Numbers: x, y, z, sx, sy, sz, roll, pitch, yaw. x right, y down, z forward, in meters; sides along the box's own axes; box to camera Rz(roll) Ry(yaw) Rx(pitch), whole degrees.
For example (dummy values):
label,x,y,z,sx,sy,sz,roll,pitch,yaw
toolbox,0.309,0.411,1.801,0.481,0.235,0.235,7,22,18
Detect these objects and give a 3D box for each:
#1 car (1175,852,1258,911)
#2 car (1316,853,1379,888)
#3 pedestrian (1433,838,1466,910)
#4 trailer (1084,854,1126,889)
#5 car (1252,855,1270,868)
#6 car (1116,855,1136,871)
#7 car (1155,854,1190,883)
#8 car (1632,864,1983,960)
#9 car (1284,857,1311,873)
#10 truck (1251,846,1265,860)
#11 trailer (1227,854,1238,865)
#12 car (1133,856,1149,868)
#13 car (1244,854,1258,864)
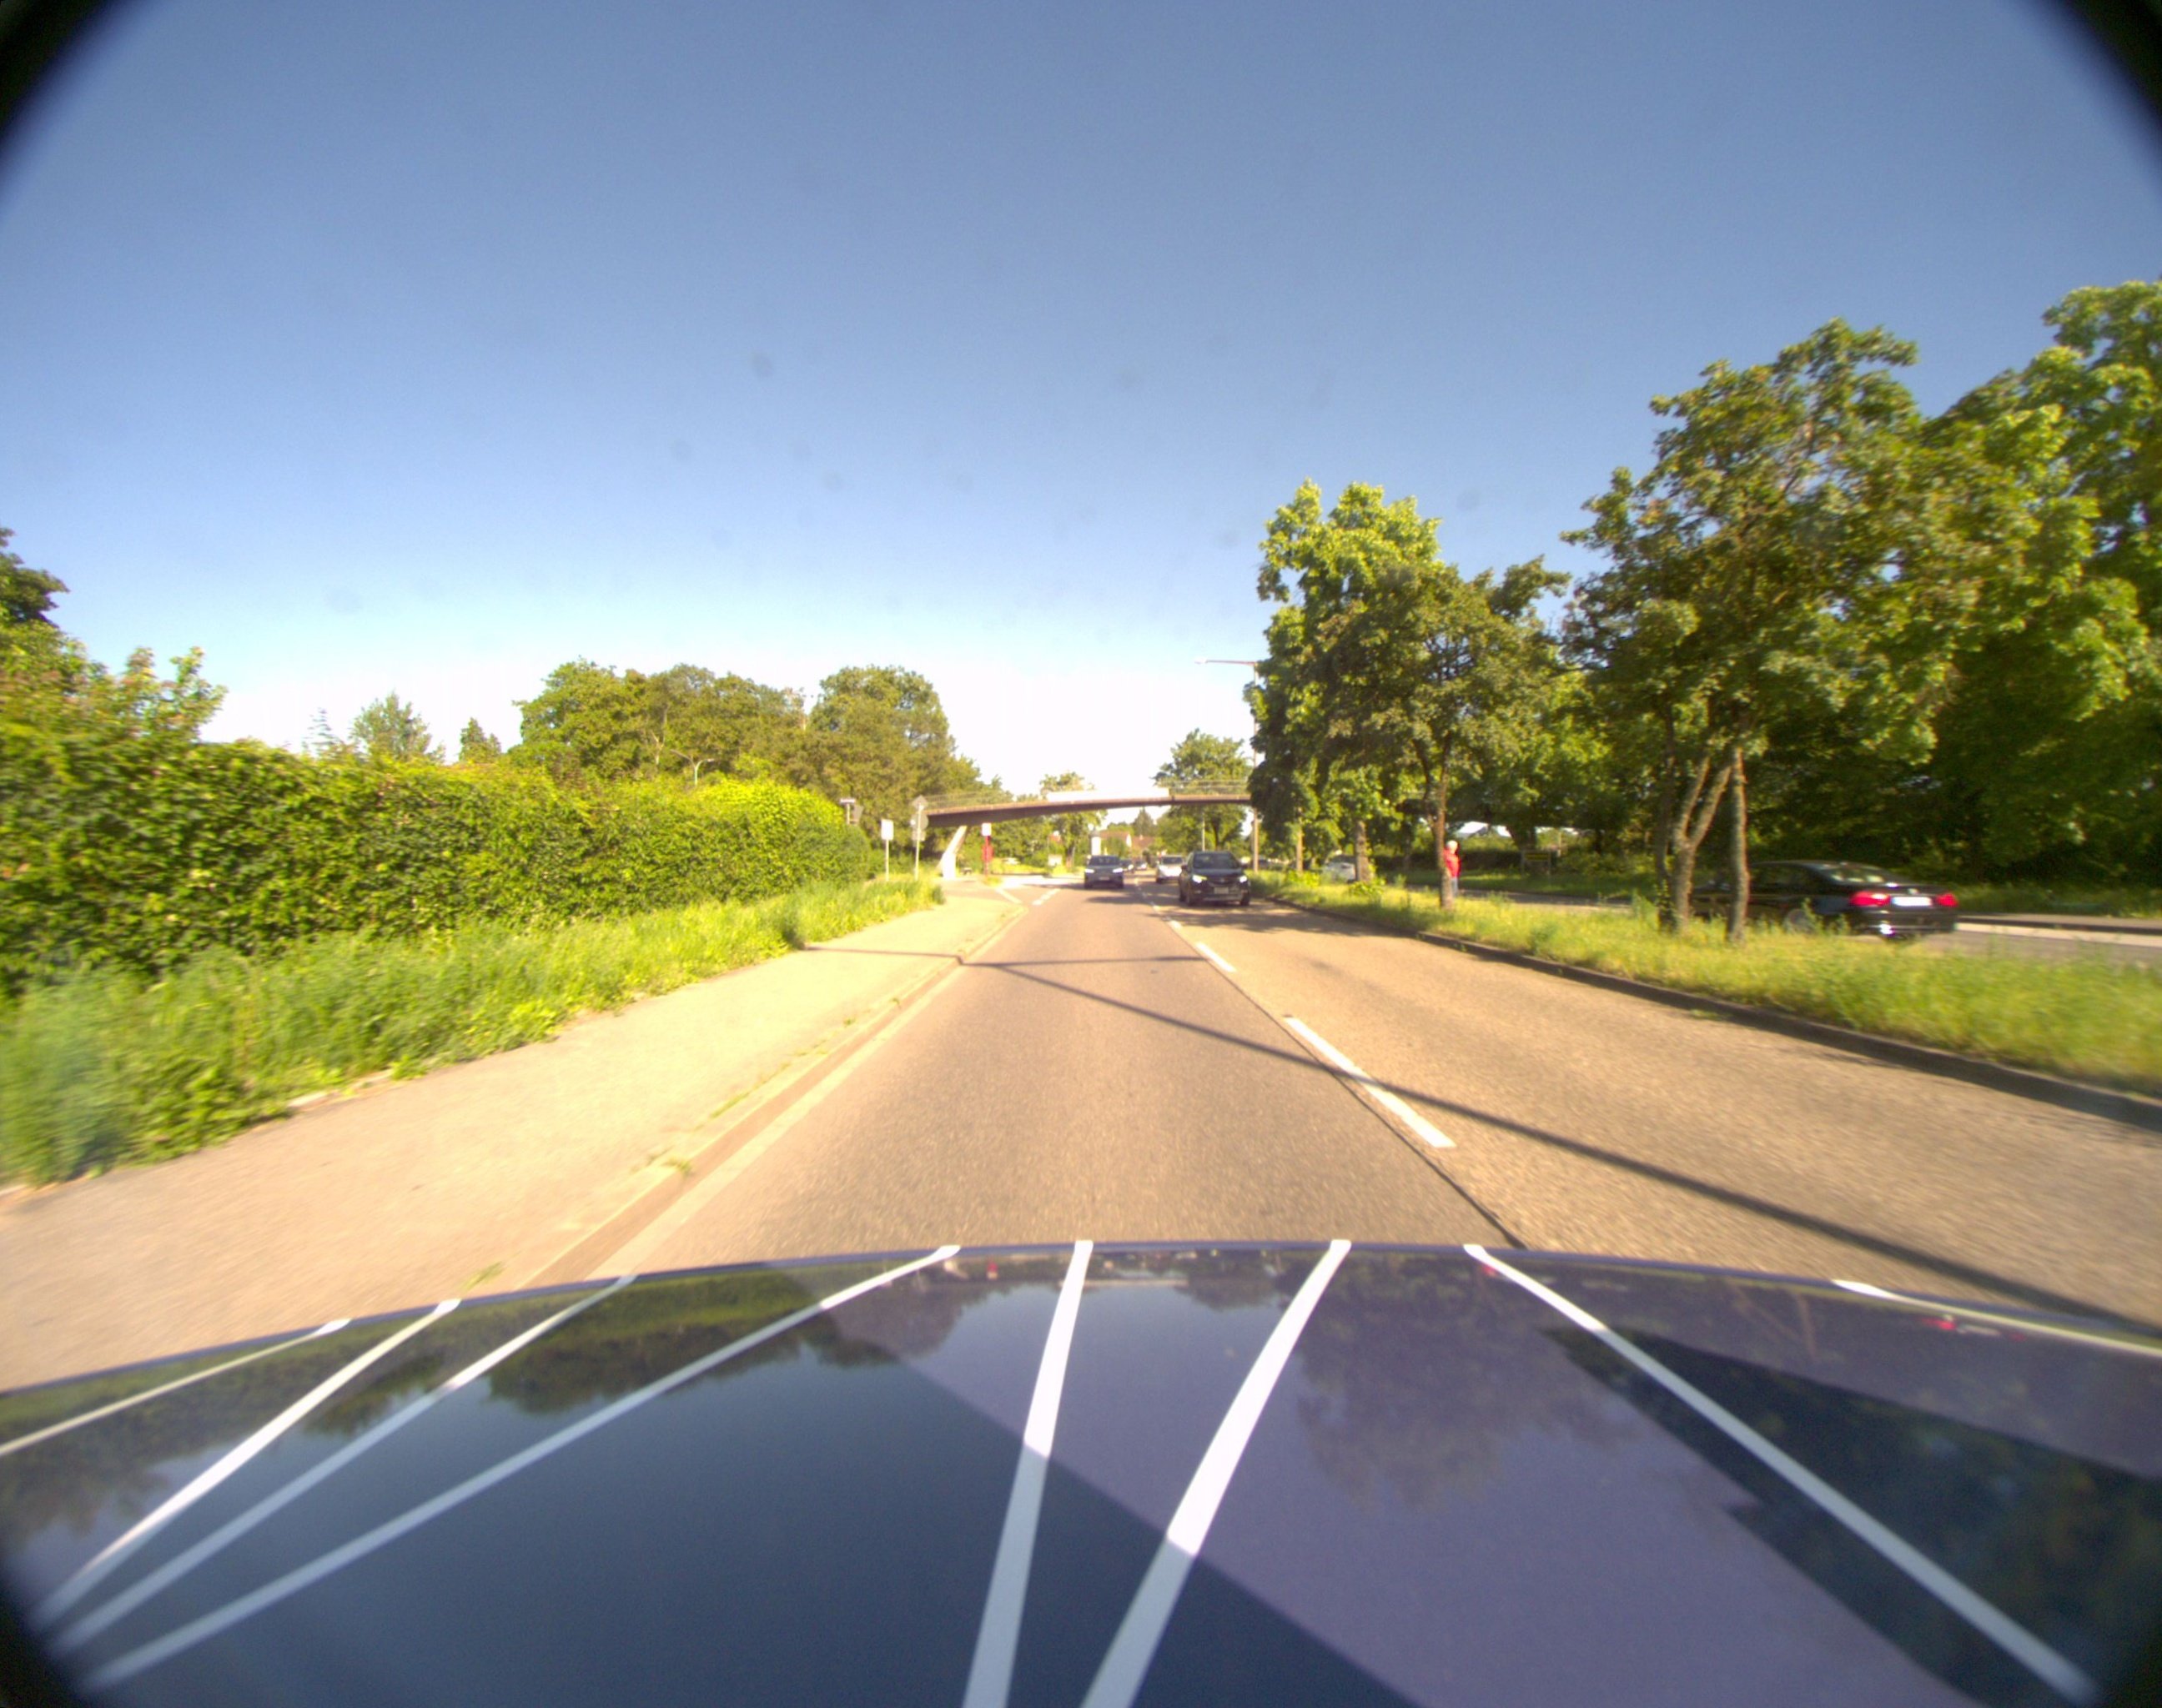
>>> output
label,x,y,z,sx,sy,sz,roll,pitch,yaw
car,4.060,0.761,23.475,1.811,1.605,4.514,-1,0,1
car,13.334,0.772,38.239,1.734,1.622,4.198,1,0,1
pedestrian,8.907,0.474,18.348,0.631,1.686,0.945,0,0,31
trailer,1.154,0.785,36.746,1.897,1.586,4.000,0,0,2
car,24.740,1.030,104.682,1.735,1.637,4.902,1,0,5
car,4.661,0.906,78.206,1.822,1.553,4.275,-1,0,8
car,5.165,0.785,42.995,1.822,1.553,4.649,-1,-1,7
car,12.980,0.933,14.177,1.786,1.353,4.979,-1,0,0
car,20.287,1.033,71.218,1.543,1.422,4.257,1,0,4
truck,33.470,-0.245,143.653,2.175,2.498,5.749,2,0,15
trailer,27.792,1.040,139.387,1.565,1.899,4.284,0,0,6
car,7.990,1.087,101.554,1.822,1.587,4.275,-1,0,8
car,27.812,0.785,124.438,1.753,1.610,4.581,0,0,6
